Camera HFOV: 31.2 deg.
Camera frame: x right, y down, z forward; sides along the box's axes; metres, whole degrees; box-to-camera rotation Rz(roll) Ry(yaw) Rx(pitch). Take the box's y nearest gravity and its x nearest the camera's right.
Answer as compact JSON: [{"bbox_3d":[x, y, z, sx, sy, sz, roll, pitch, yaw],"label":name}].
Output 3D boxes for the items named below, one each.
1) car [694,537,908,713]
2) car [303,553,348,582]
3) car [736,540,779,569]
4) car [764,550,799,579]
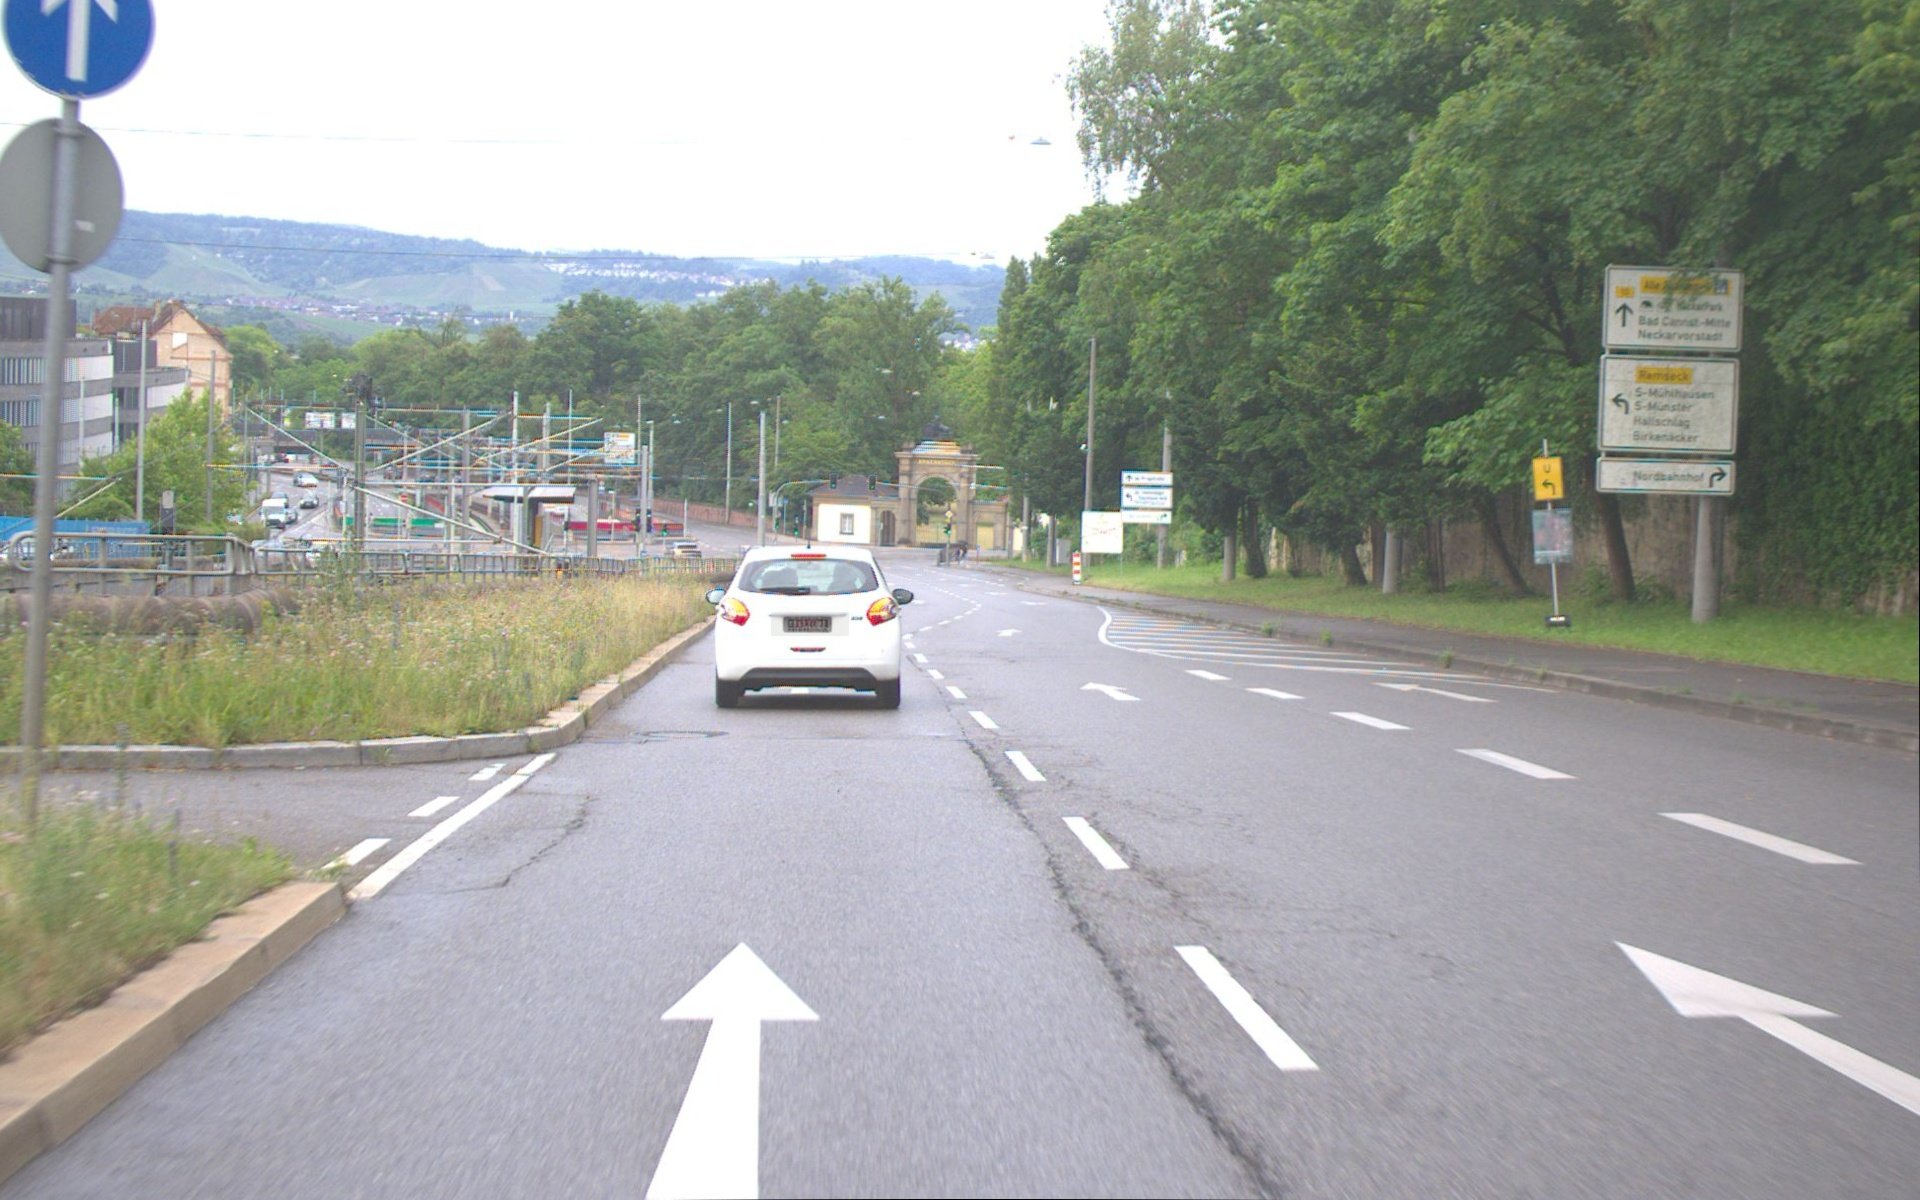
[{"bbox_3d":[-1.453,0.183,32.175,1.868,1.505,3.900,0,1,-2],"label":"car"},{"bbox_3d":[-30.568,-1.558,165.799,1.555,1.287,3.559,2,2,-1],"label":"car"},{"bbox_3d":[-12.139,-2.735,206.070,1.993,1.700,4.001,1,1,-12],"label":"car"},{"bbox_3d":[-10.305,-2.069,198.512,1.822,1.600,4.000,-1,1,-1],"label":"car"}]
